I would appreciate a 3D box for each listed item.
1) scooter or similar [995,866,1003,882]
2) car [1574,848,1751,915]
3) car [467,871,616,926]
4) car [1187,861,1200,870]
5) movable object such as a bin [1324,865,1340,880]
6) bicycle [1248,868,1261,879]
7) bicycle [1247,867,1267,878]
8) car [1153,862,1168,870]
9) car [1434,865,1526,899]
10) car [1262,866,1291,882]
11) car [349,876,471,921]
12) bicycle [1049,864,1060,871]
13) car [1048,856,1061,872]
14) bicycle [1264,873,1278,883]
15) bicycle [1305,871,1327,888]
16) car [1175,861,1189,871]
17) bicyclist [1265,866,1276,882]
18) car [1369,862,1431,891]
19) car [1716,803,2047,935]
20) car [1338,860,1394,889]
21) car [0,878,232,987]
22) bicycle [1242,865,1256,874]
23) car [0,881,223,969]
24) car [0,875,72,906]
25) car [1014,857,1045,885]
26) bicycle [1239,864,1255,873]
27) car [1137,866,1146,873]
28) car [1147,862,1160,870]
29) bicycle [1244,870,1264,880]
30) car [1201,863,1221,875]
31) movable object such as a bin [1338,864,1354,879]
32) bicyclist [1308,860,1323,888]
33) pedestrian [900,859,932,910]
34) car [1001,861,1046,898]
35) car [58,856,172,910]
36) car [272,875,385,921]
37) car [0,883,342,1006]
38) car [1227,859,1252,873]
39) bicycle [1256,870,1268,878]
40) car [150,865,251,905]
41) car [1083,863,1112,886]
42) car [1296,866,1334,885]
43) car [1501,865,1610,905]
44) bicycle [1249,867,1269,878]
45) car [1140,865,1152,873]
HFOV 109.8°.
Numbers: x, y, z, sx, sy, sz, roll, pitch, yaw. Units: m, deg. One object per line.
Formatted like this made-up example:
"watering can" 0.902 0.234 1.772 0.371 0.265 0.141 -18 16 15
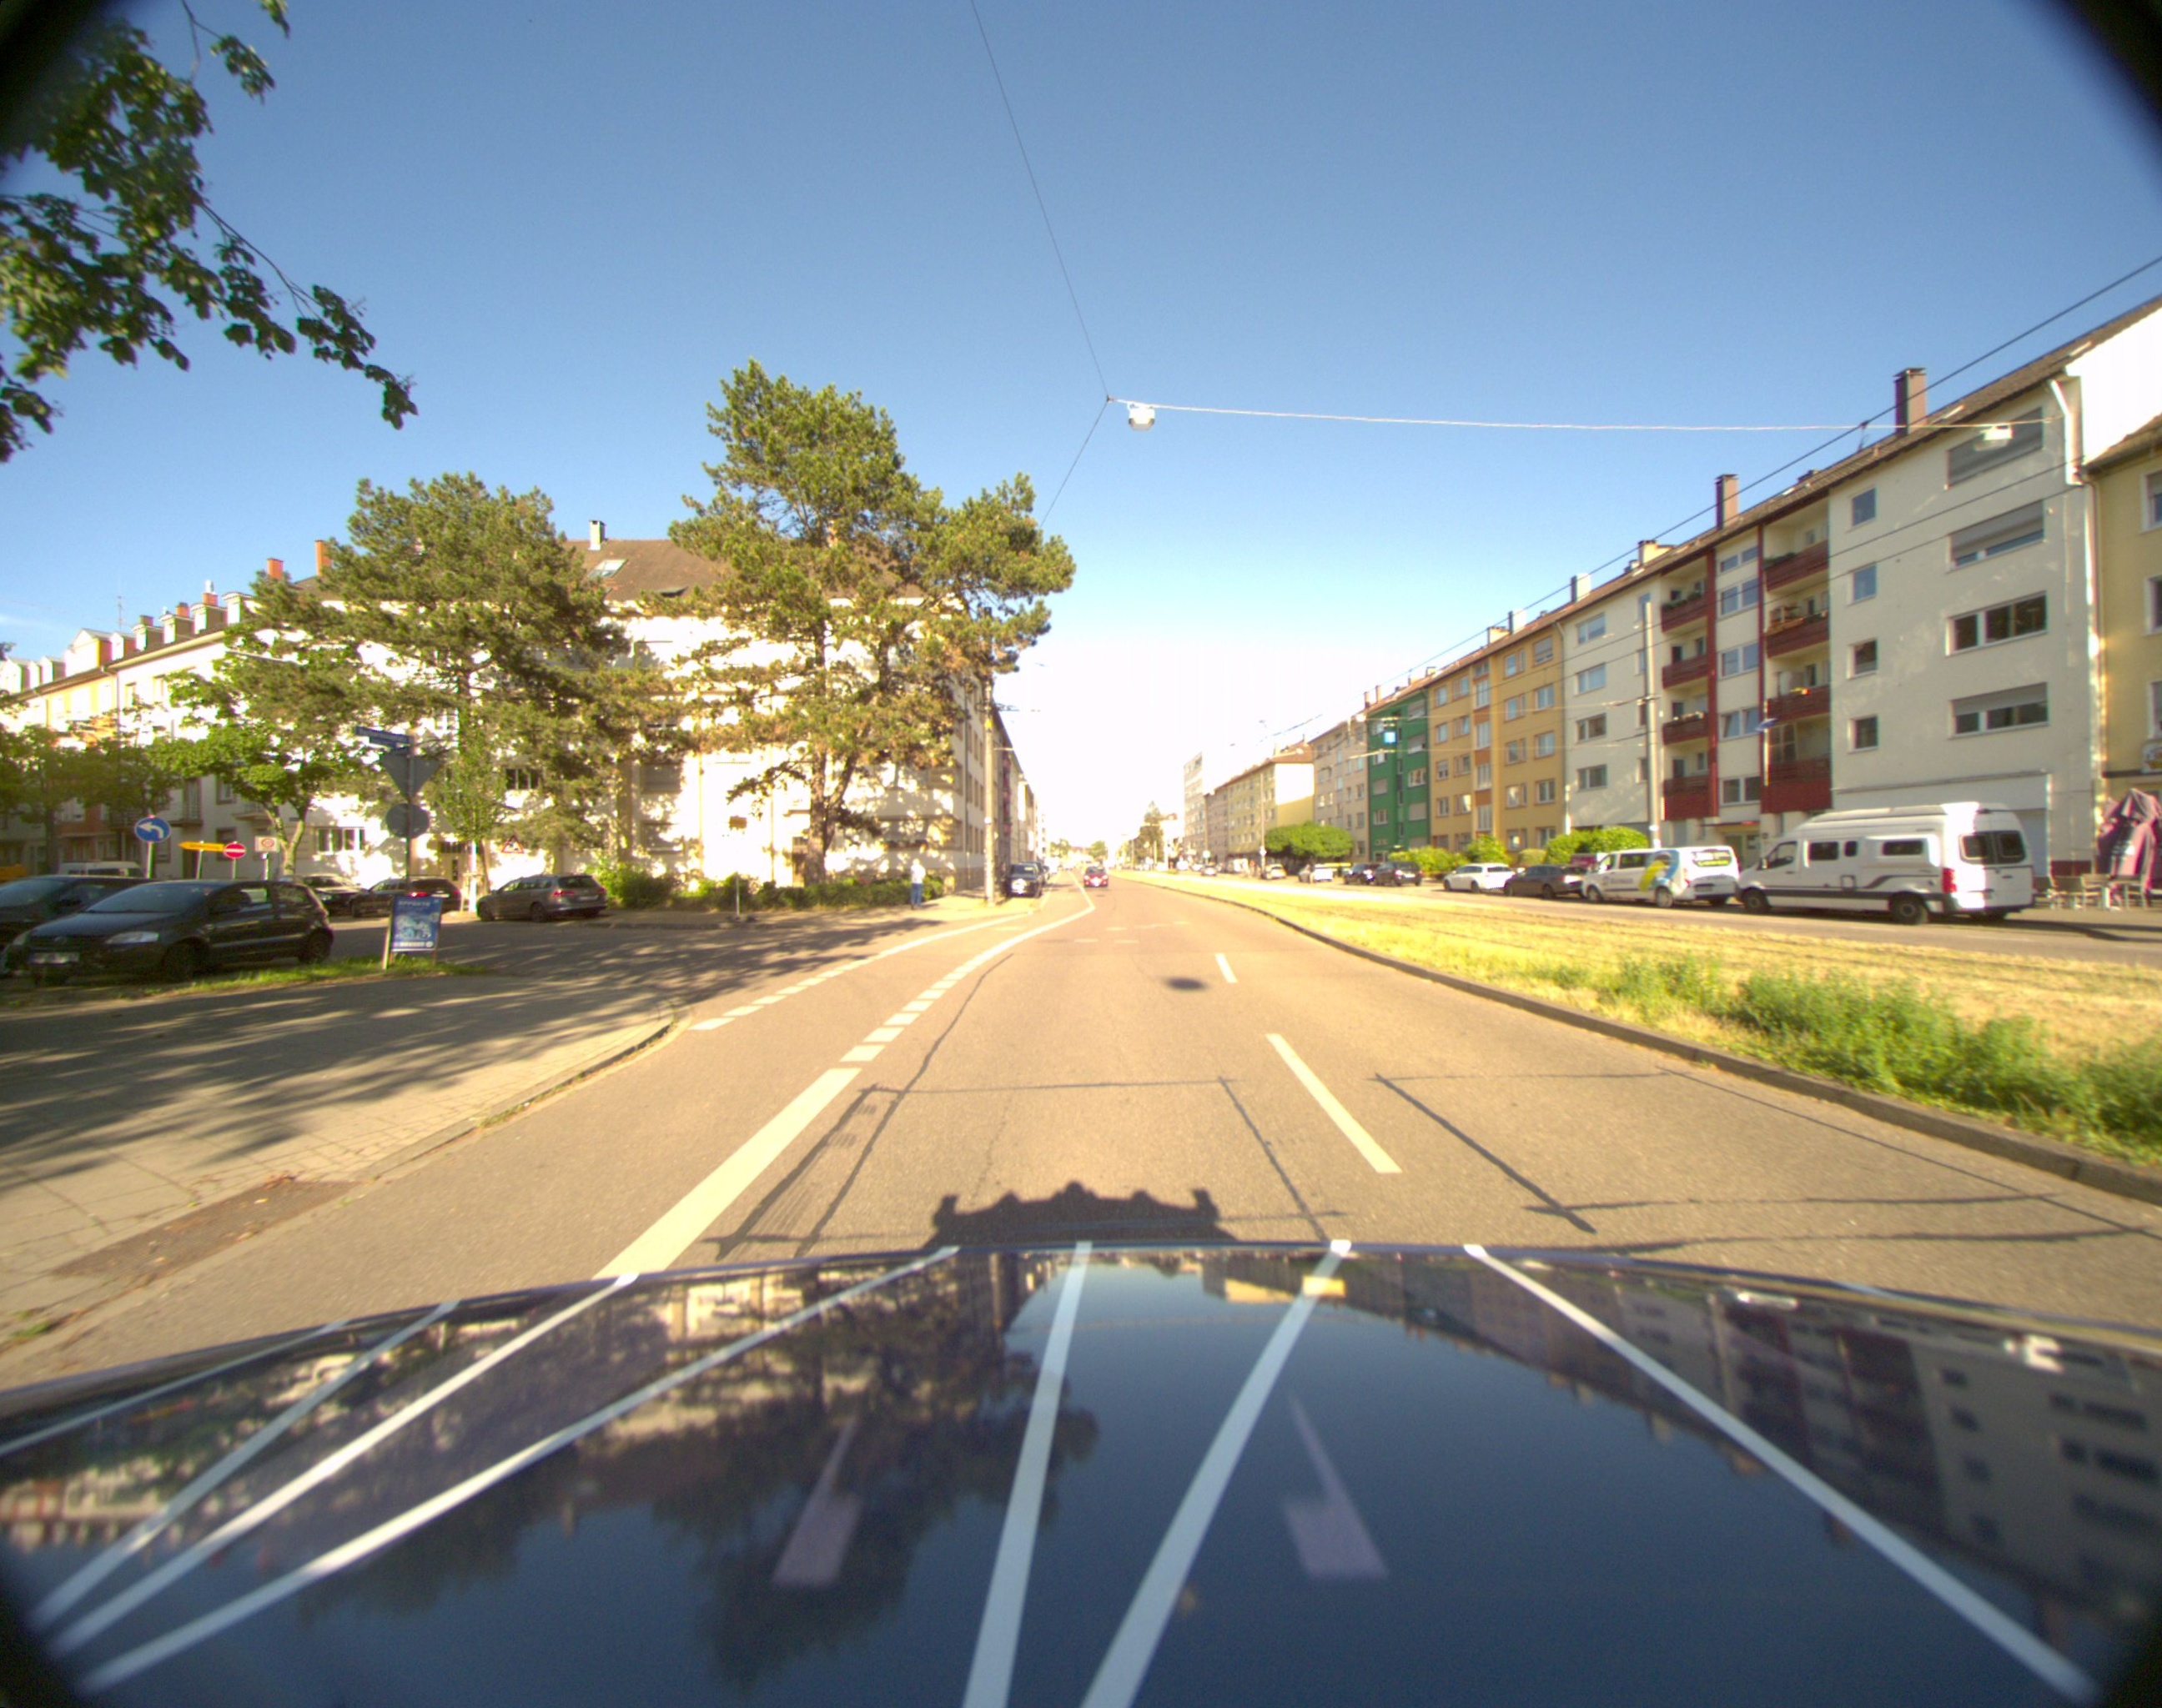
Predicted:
"scooter or similar" -6.470 1.540 59.864 0.460 1.231 1.338 3 0 -1
"car" 20.164 0.898 26.751 2.037 2.009 5.370 -3 0 0
"car" -17.186 1.370 24.203 4.294 1.493 1.772 0 3 23
"car" 21.152 2.111 143.010 1.763 1.477 4.199 -3 0 -1
"movable object such as a bin" 23.594 1.714 71.450 1.149 1.360 1.039 -3 0 1
"bicycle" 18.780 2.119 82.109 0.511 1.086 1.934 -3 0 -13
"bicycle" 19.772 2.058 85.248 2.052 1.086 0.616 -3 0 5
"car" 14.568 2.214 139.959 1.839 1.376 4.413 0 -1 -7
"car" 19.865 1.361 38.084 1.897 1.482 4.702 -3 -1 -3
"car" 19.498 2.004 75.955 1.640 1.433 3.733 -3 0 -3
"car" -24.293 1.568 27.520 3.902 1.461 1.773 0 0 23
"bicycle" -4.318 2.146 121.804 0.487 1.080 2.023 -3 0 -44
"car" -4.408 1.667 127.408 2.156 2.680 6.291 1 -1 -1
"bicycle" 16.875 2.107 67.511 0.770 0.874 2.069 1 -1 -1
"bicycle" 17.501 1.890 56.628 0.770 1.139 2.474 1 -1 -1
"car" 21.984 2.606 165.135 1.999 1.886 4.669 -3 0 -3
"bicyclist" 16.862 1.761 67.594 0.775 1.376 0.648 -1 0 -1
"car" 19.928 1.365 47.670 1.999 1.598 4.151 -3 0 -1
"car" 20.318 0.357 19.930 2.037 2.851 6.228 -2 0 0
"car" 19.665 1.361 52.628 1.999 1.827 4.609 -3 0 -1
"car" -16.689 1.203 12.326 1.455 1.563 3.810 0 -1 3
"bicycle" 23.477 2.169 106.013 1.824 1.099 0.390 -3 0 -1
"car" -19.522 1.284 14.566 1.640 1.432 4.239 0 -1 -7
"car" -62.024 2.152 44.929 3.991 1.601 1.803 -4 0 22
"car" -3.677 1.189 55.005 1.918 1.888 5.135 2 0 -2
"bicycle" 23.646 2.081 107.934 2.103 1.099 0.472 -3 0 -1
"car" 13.525 3.549 170.698 1.618 1.549 4.000 1 -1 -2
"car" 13.894 2.332 145.857 1.788 1.519 4.413 0 -1 -6
"bicycle" 19.844 2.400 87.194 2.052 1.086 0.616 -3 0 5
"car" 15.829 1.828 92.821 1.699 1.439 4.217 0 -1 0
"movable object such as a bin" 24.891 1.623 71.424 1.149 1.360 1.039 -3 0 1
"bicyclist" 17.510 1.475 56.811 0.775 2.002 0.648 -3 0 -1
"pedestrian" -5.652 1.044 26.109 0.882 1.712 0.725 -1 -1 4
"car" -2.883 1.243 39.191 1.883 1.706 4.934 2 0 0
"car" -49.638 1.474 39.039 5.307 2.428 2.129 -4 0 22
"car" -29.454 1.710 29.742 3.903 1.701 1.773 -2 -1 23
"car" -13.800 1.244 11.753 1.641 1.485 3.805 0 -1 -12
"car" 23.299 1.720 111.943 1.999 1.937 5.499 -3 0 -4
"bicycle" 19.597 2.184 82.335 0.377 0.860 2.053 -3 0 -13
"car" -40.808 1.429 35.223 3.991 1.601 1.803 -4 0 22
"car" 1.079 1.375 51.444 1.863 1.461 3.809 0 -1 -1
"car" 19.423 1.744 63.164 1.733 1.446 4.376 -2 -1 -1
"car" 20.023 1.274 32.317 1.699 1.506 4.325 -2 0 -4
"bicycle" 19.784 2.039 84.595 2.052 1.086 0.616 -3 0 5
"car" 13.768 3.218 160.966 1.862 1.541 4.240 1 -1 -3
